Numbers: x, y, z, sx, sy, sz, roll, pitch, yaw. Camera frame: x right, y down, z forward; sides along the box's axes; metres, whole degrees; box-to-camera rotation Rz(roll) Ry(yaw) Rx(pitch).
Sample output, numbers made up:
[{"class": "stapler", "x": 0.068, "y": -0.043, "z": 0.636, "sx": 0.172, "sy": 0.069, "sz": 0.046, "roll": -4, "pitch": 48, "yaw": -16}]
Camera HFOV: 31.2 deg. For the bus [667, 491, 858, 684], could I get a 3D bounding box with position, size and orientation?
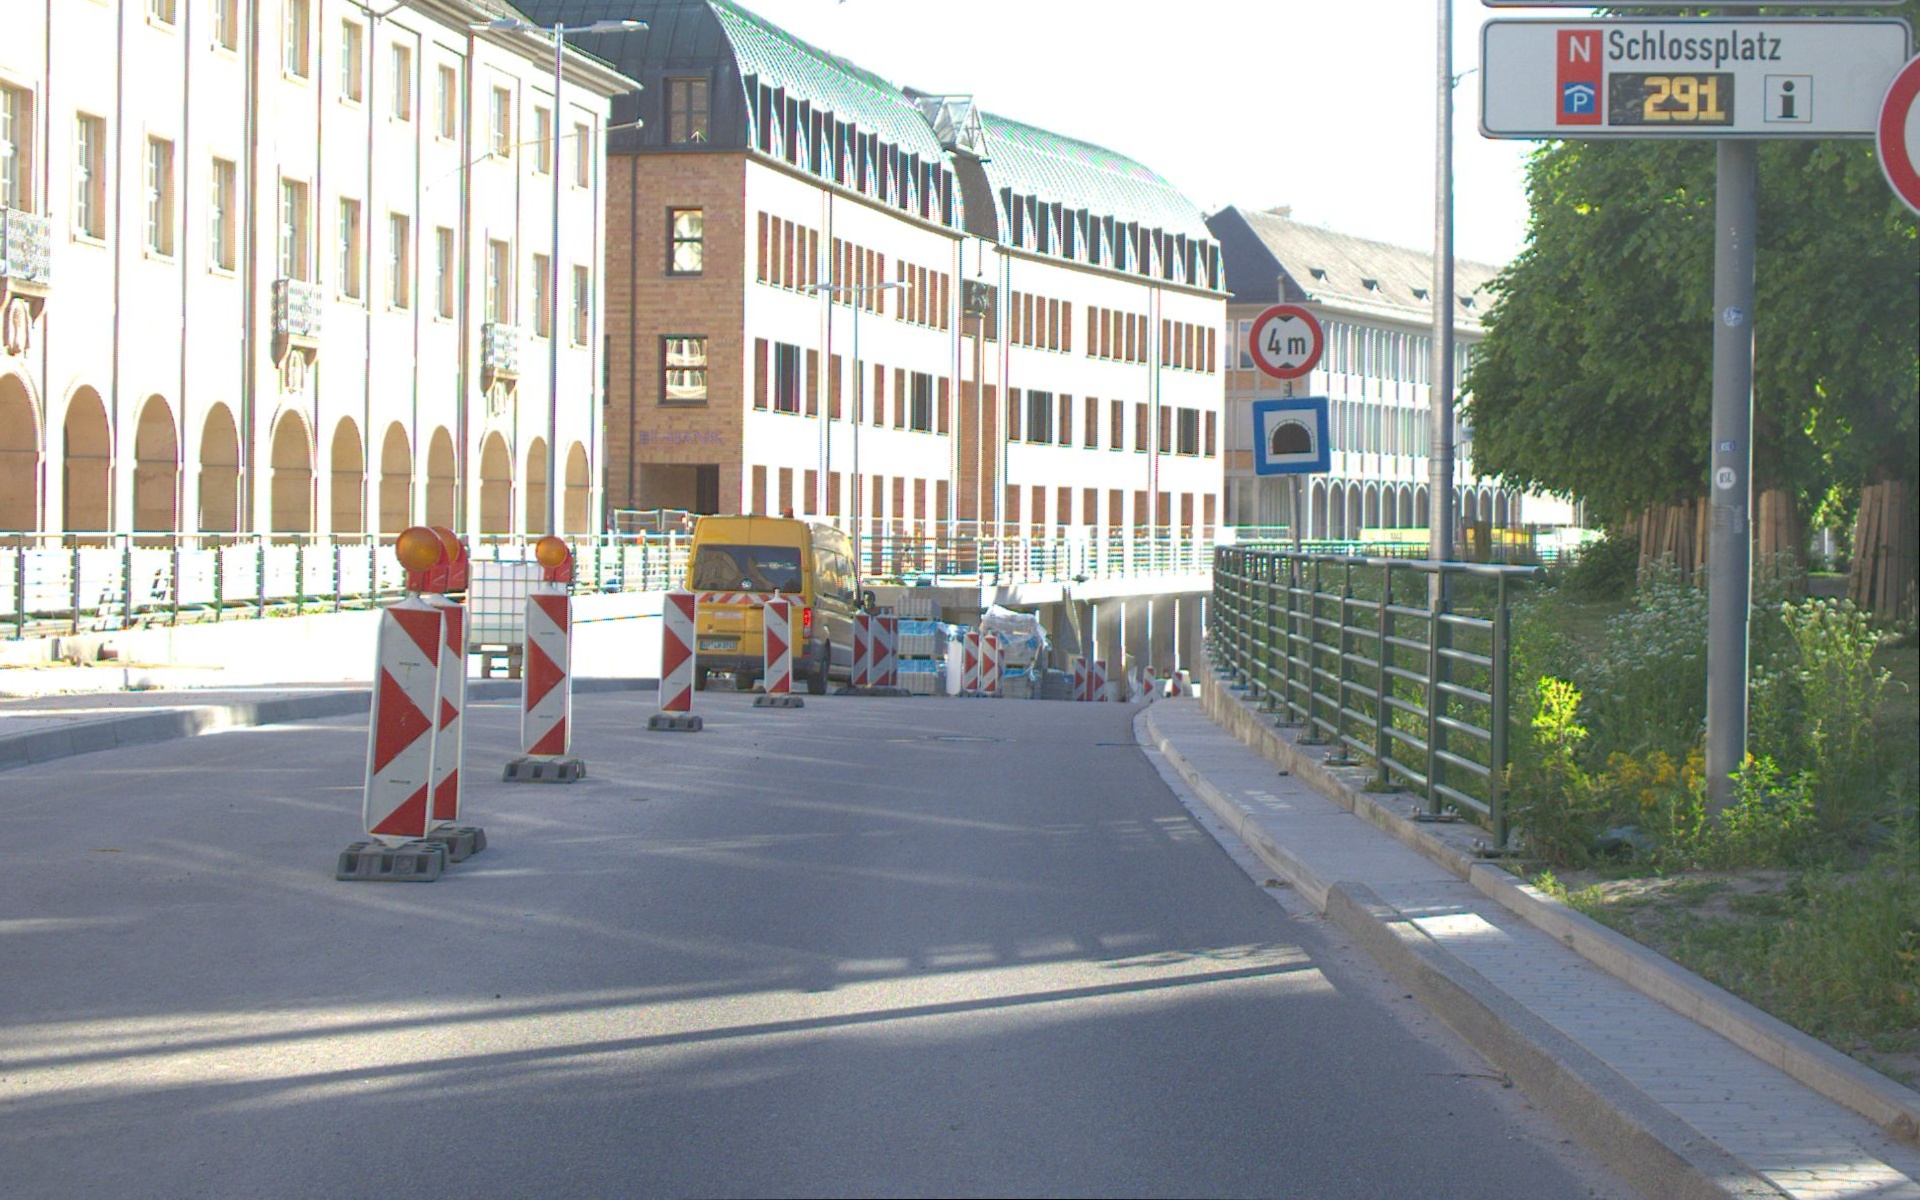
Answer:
[{"class": "bus", "x": -2.840, "y": -0.135, "z": 50.543, "sx": 2.073, "sy": 2.677, "sz": 4.682, "roll": 1, "pitch": -1, "yaw": 5}]
